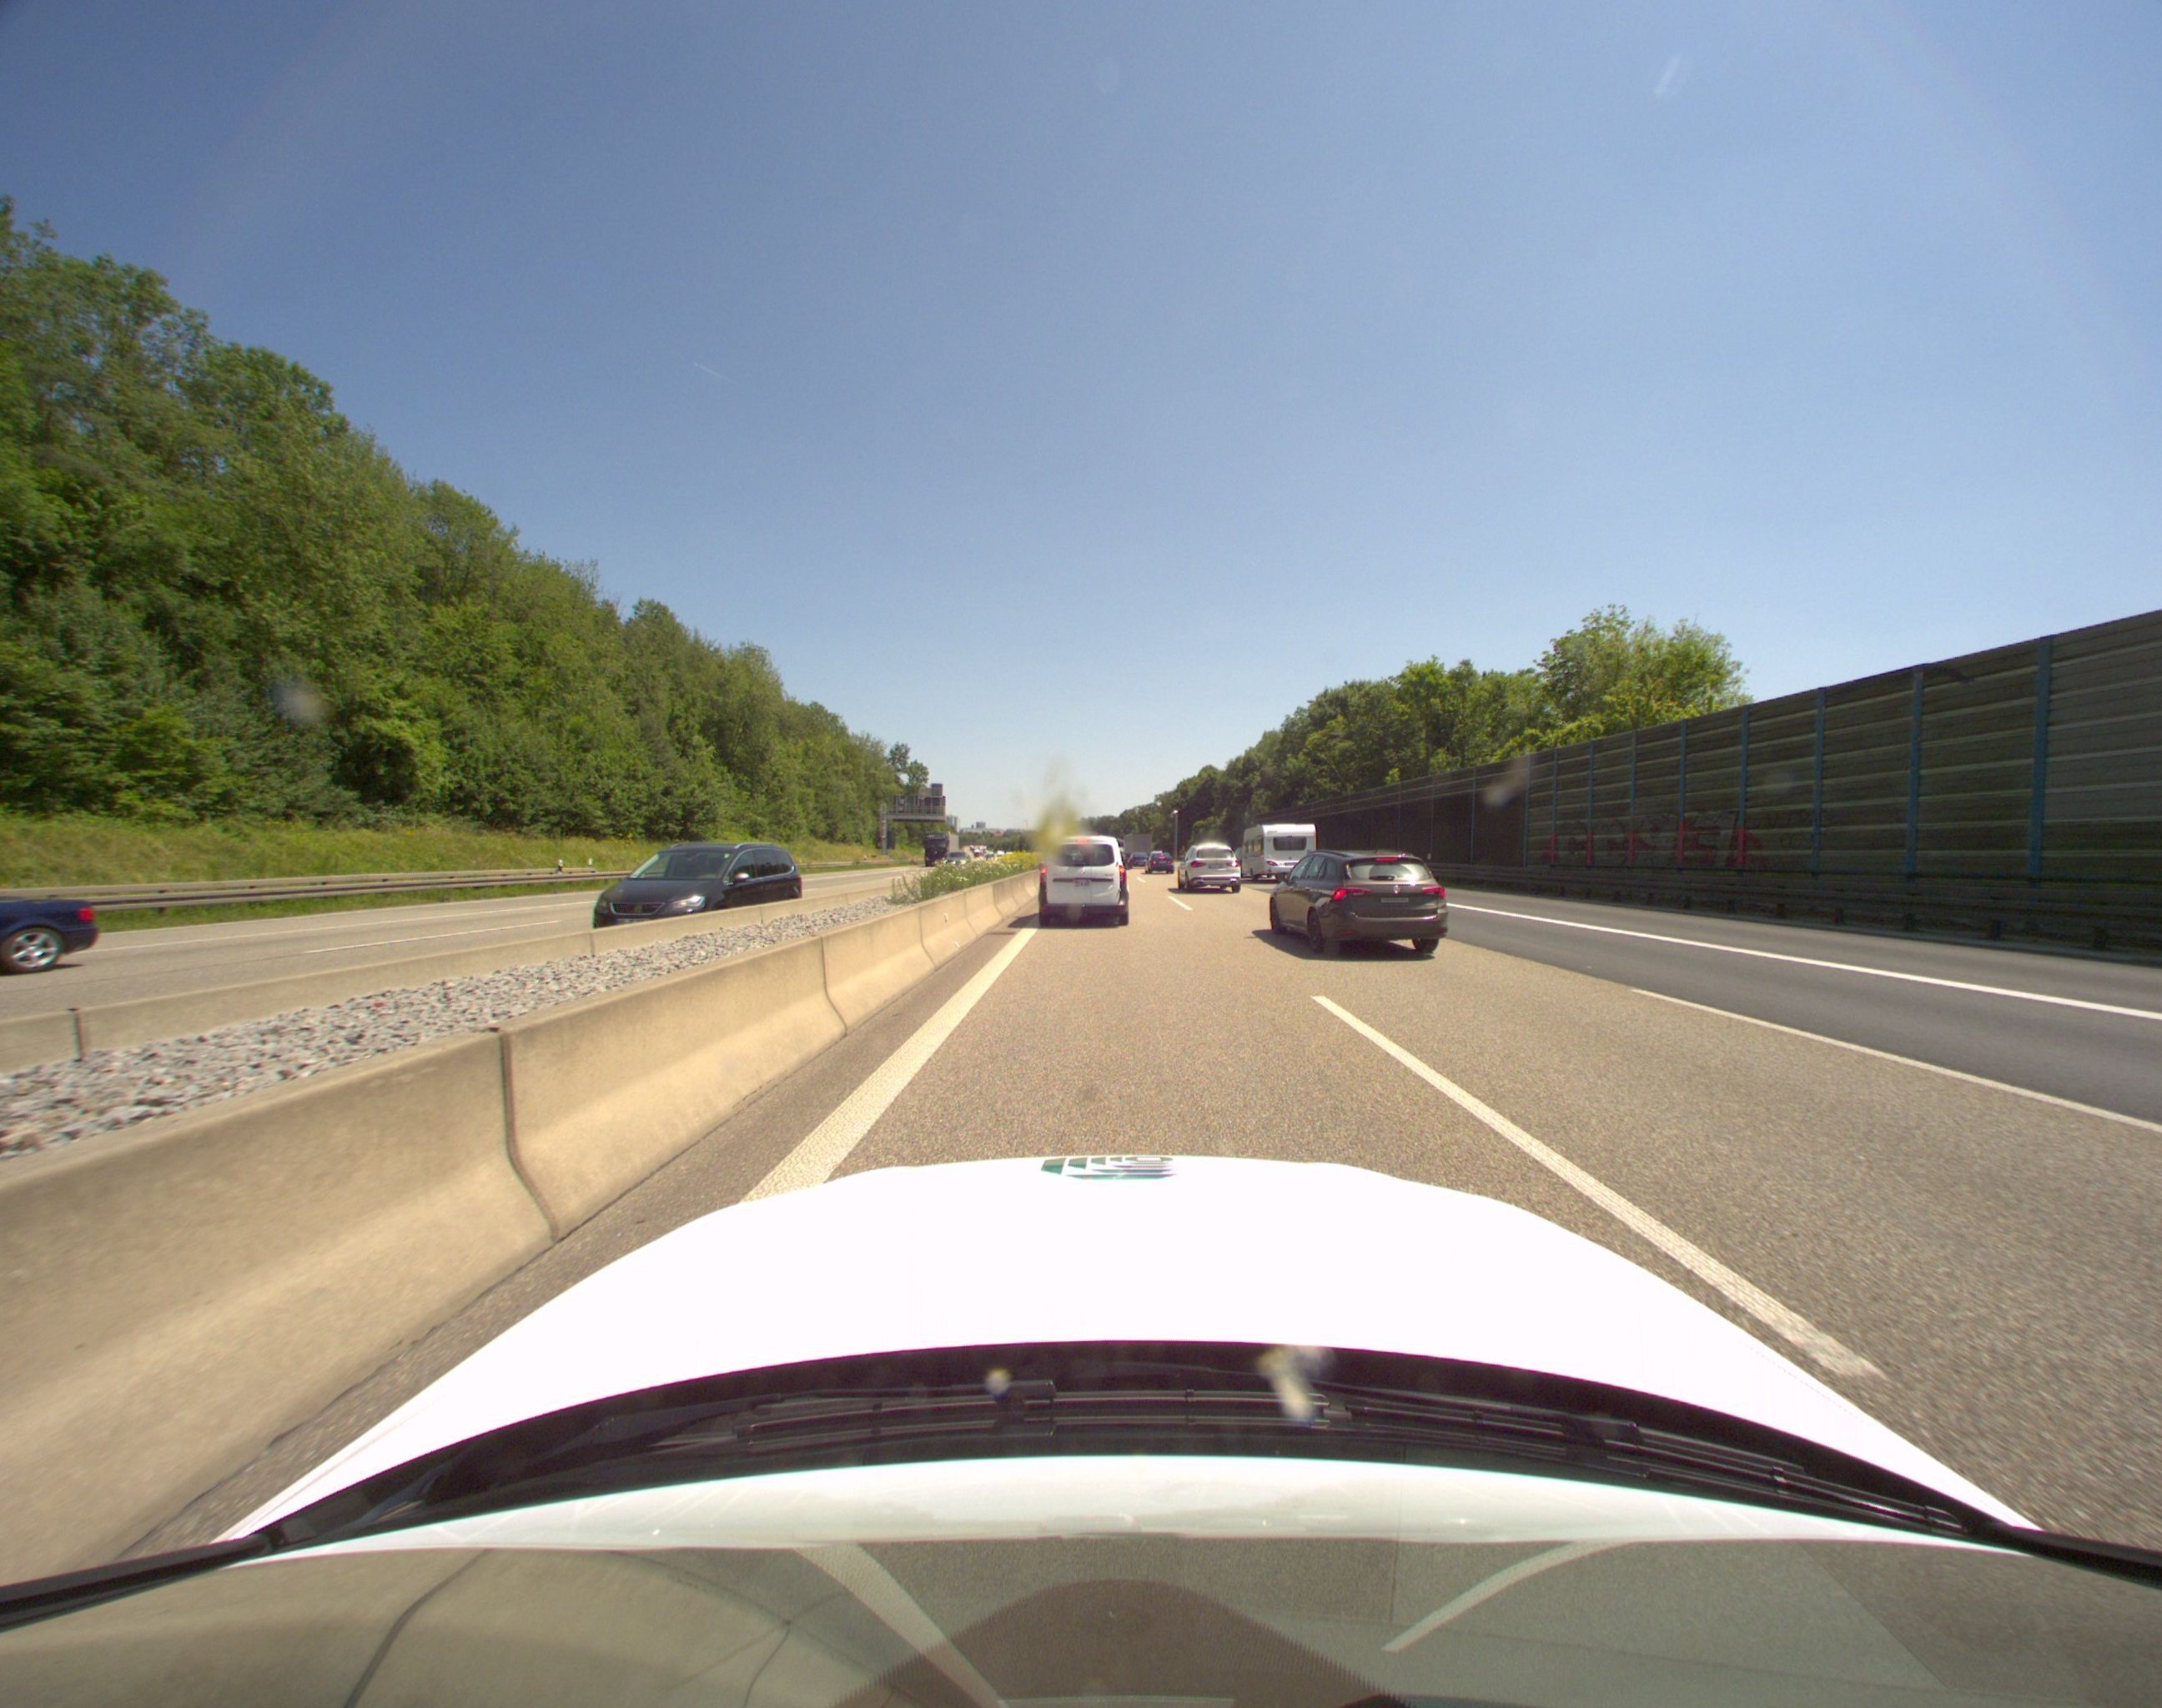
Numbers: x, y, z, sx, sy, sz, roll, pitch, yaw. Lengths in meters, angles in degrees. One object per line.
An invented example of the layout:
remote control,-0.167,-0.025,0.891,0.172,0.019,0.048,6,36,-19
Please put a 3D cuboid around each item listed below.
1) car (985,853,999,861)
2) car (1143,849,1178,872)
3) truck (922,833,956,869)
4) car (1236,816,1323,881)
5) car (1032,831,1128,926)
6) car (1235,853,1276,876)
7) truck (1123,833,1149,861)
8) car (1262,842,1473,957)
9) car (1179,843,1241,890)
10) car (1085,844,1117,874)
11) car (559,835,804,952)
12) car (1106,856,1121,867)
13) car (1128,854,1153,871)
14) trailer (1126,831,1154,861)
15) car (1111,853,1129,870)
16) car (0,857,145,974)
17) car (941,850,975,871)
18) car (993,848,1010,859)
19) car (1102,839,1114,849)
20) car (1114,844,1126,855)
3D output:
car,-16.509,0.484,151.395,1.987,1.491,4.000,0,0,0
car,5.097,0.437,52.775,1.818,1.424,3.999,0,0,-1
truck,-16.071,-0.360,92.456,2.821,3.939,6.003,0,0,-1
car,9.095,-0.206,38.000,2.471,2.766,6.218,0,0,0
car,0.086,0.459,17.642,1.794,1.808,4.004,0,0,4
car,11.304,0.667,52.960,1.818,1.424,4.000,0,0,0
truck,8.151,-1.036,122.066,3.072,3.985,9.643,0,0,0
car,4.260,0.589,12.917,1.832,1.513,4.402,0,0,0
car,4.616,0.422,29.611,1.863,1.608,3.883,0,0,4
car,1.254,0.308,53.266,1.987,1.860,3.999,0,0,-1
car,-6.614,0.565,14.143,1.986,1.724,4.358,0,0,2
car,4.478,1.034,111.542,1.818,1.447,3.999,0,0,-1
car,5.179,0.746,70.931,1.818,1.424,3.999,0,0,-1
trailer,8.216,-1.080,114.909,3.072,3.985,10.320,0,0,0
car,4.571,0.868,96.058,1.818,1.989,3.999,0,0,-1
car,-14.430,0.782,9.715,1.833,1.453,4.002,0,0,2
car,-9.913,0.525,66.103,1.986,1.627,4.475,0,0,1
car,-11.401,-0.031,116.633,1.987,1.498,4.248,0,0,1
car,5.415,-1.993,163.128,1.990,2.013,3.994,-1,0,-4
car,7.047,-0.754,146.339,1.987,2.013,3.999,-1,0,0
